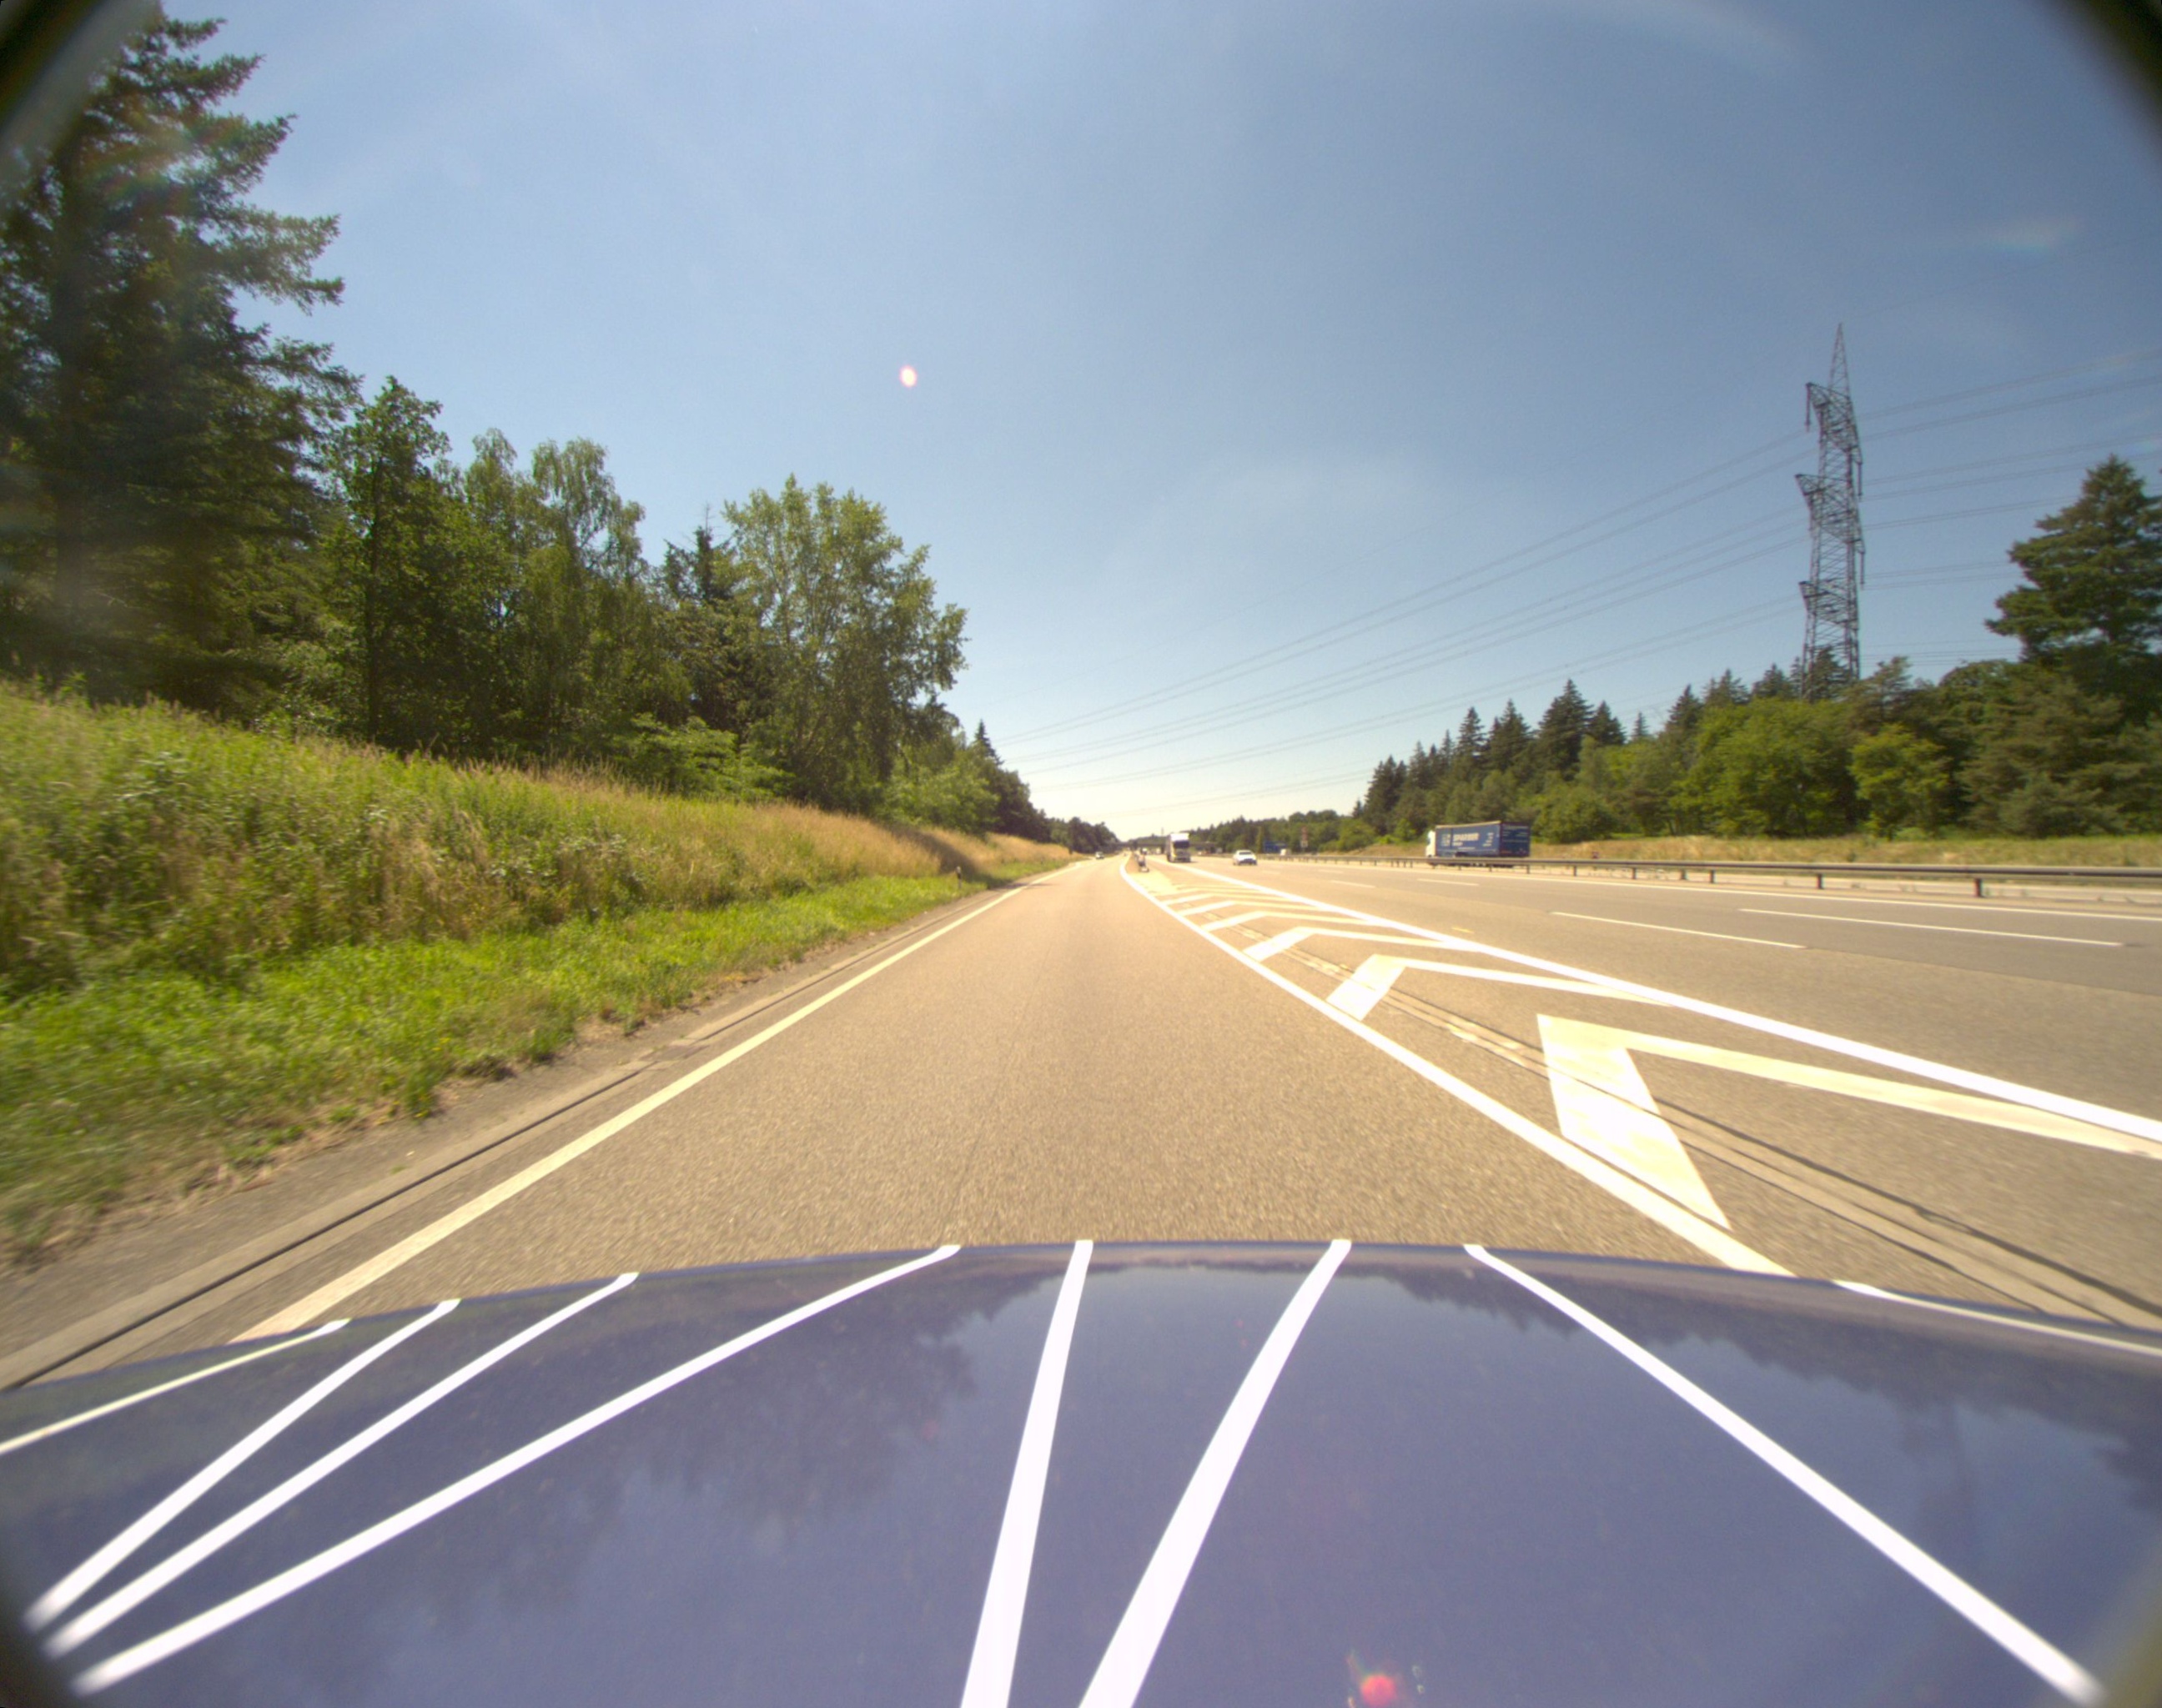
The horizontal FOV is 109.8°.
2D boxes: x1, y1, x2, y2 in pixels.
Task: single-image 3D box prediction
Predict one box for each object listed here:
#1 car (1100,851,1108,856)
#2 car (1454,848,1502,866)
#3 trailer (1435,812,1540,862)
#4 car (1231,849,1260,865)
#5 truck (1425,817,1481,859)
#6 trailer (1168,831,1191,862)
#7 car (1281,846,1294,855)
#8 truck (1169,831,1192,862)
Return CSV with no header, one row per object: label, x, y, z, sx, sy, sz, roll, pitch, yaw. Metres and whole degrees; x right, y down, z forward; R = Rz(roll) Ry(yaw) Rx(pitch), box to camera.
car,6.121,-0.178,203.579,1.898,1.417,4.263,-2,1,6
car,32.436,0.193,62.172,1.765,1.395,4.434,0,1,2
trailer,37.495,-1.533,71.039,3.210,4.148,13.986,1,1,4
car,16.485,0.270,76.396,1.968,1.495,5.405,-1,1,3
truck,38.053,-1.638,77.976,3.209,4.148,5.724,1,1,4
trailer,14.110,-1.085,109.389,2.981,4.118,11.700,-1,0,6
car,58.245,-1.019,214.619,2.310,2.500,6.458,-1,0,4
truck,13.522,-1.035,103.686,2.978,4.118,5.351,-1,1,6
